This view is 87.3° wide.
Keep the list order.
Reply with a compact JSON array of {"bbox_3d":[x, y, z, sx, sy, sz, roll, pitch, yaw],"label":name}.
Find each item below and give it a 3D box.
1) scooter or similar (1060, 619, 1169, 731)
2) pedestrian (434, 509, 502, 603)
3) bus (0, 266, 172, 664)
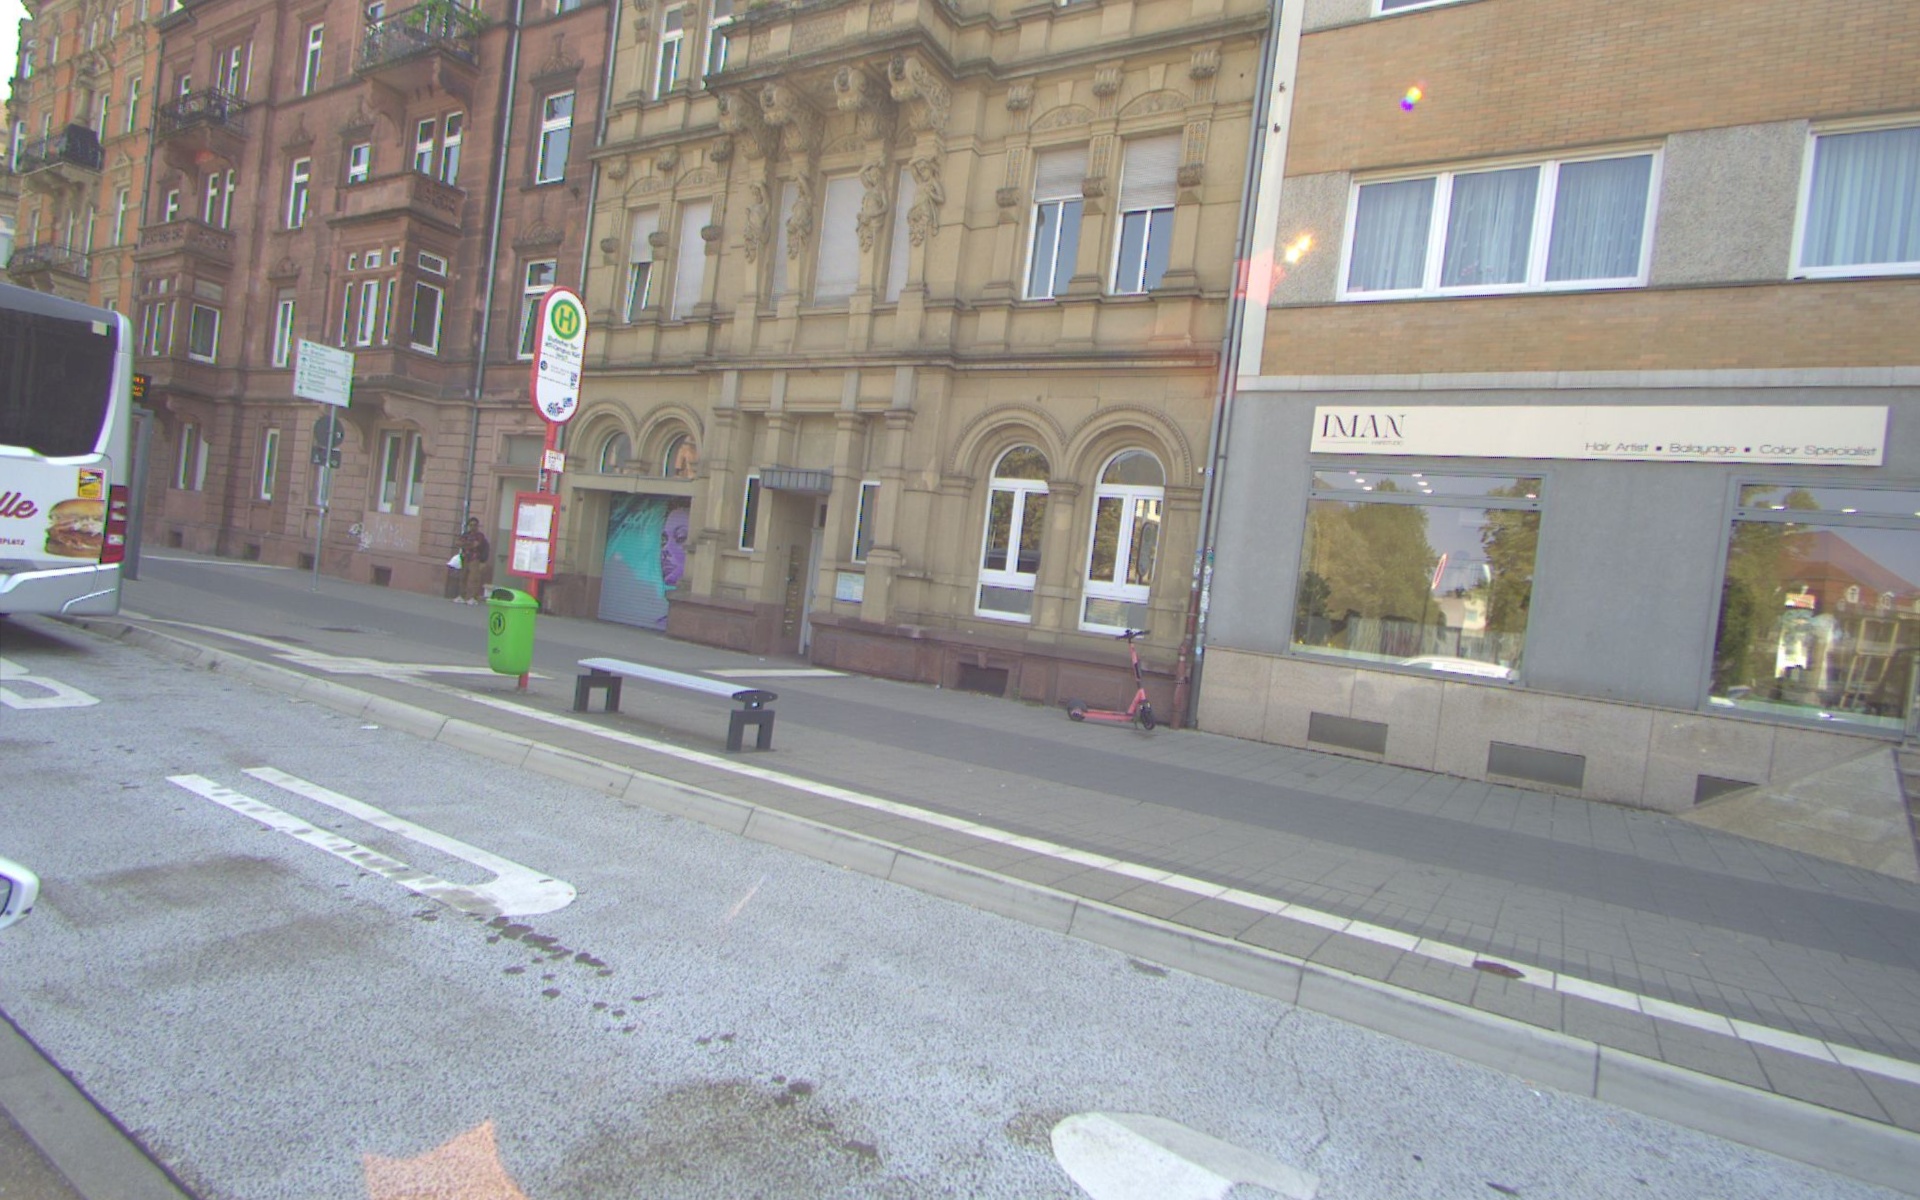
[{"bbox_3d":[1.927,0.918,12.545,1.122,1.228,0.476,7,1,27],"label":"scooter or similar"},{"bbox_3d":[-10.041,-0.876,20.546,0.729,1.800,0.870,7,1,4],"label":"pedestrian"},{"bbox_3d":[-12.688,-1.652,10.987,11.761,3.149,2.742,7,3,33],"label":"bus"}]
